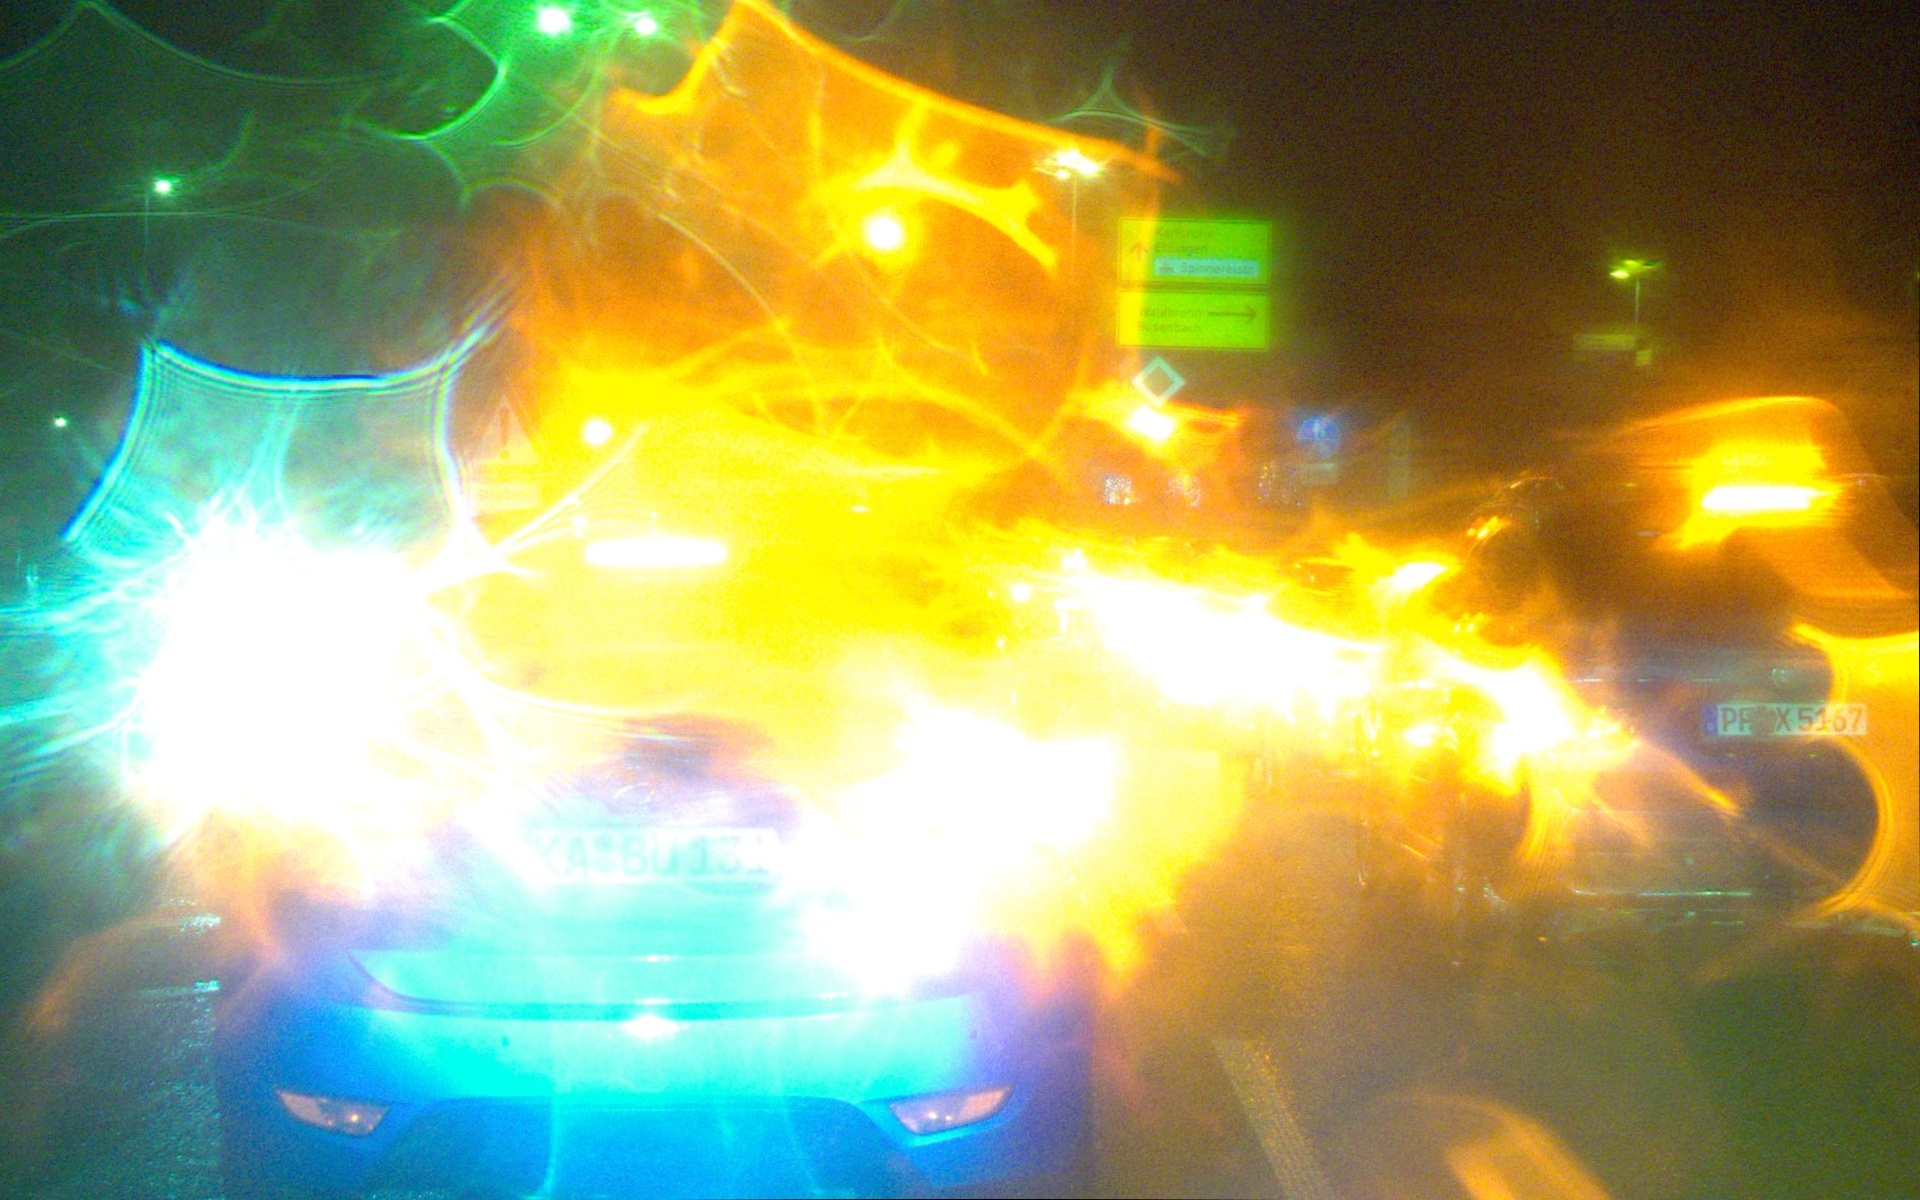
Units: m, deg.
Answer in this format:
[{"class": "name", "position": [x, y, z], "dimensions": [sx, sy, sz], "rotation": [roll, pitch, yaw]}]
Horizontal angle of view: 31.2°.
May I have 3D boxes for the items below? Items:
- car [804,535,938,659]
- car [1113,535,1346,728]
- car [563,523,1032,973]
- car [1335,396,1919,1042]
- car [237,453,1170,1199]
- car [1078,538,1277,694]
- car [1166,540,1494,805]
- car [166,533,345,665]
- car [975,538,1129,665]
[{"class": "car", "position": [-1.299, -0.077, 48.845], "dimensions": [1.708, 1.632, 3.731], "rotation": [-1, 1, -4]}, {"class": "car", "position": [2.125, 0.219, 27.971], "dimensions": [1.663, 1.445, 4.050], "rotation": [0, 0, 1]}, {"class": "car", "position": [-0.609, 0.509, 14.660], "dimensions": [1.708, 1.632, 3.731], "rotation": [-1, 1, 0]}, {"class": "car", "position": [2.554, 0.315, 12.584], "dimensions": [1.942, 1.965, 4.218], "rotation": [0, 1, 1]}, {"class": "car", "position": [-0.492, 0.532, 8.229], "dimensions": [1.694, 1.624, 3.853], "rotation": [1, 1, -1]}, {"class": "car", "position": [2.130, 0.112, 34.555], "dimensions": [1.663, 1.445, 4.050], "rotation": [0, 1, -1]}, {"class": "car", "position": [2.190, 0.366, 21.322], "dimensions": [1.768, 1.445, 4.218], "rotation": [0, 1, 3]}, {"class": "car", "position": [-8.073, -0.045, 39.636], "dimensions": [1.719, 1.437, 3.740], "rotation": [0, 1, -7]}, {"class": "car", "position": [1.060, 0.001, 41.366], "dimensions": [1.663, 1.445, 4.050], "rotation": [0, 0, -1]}]
